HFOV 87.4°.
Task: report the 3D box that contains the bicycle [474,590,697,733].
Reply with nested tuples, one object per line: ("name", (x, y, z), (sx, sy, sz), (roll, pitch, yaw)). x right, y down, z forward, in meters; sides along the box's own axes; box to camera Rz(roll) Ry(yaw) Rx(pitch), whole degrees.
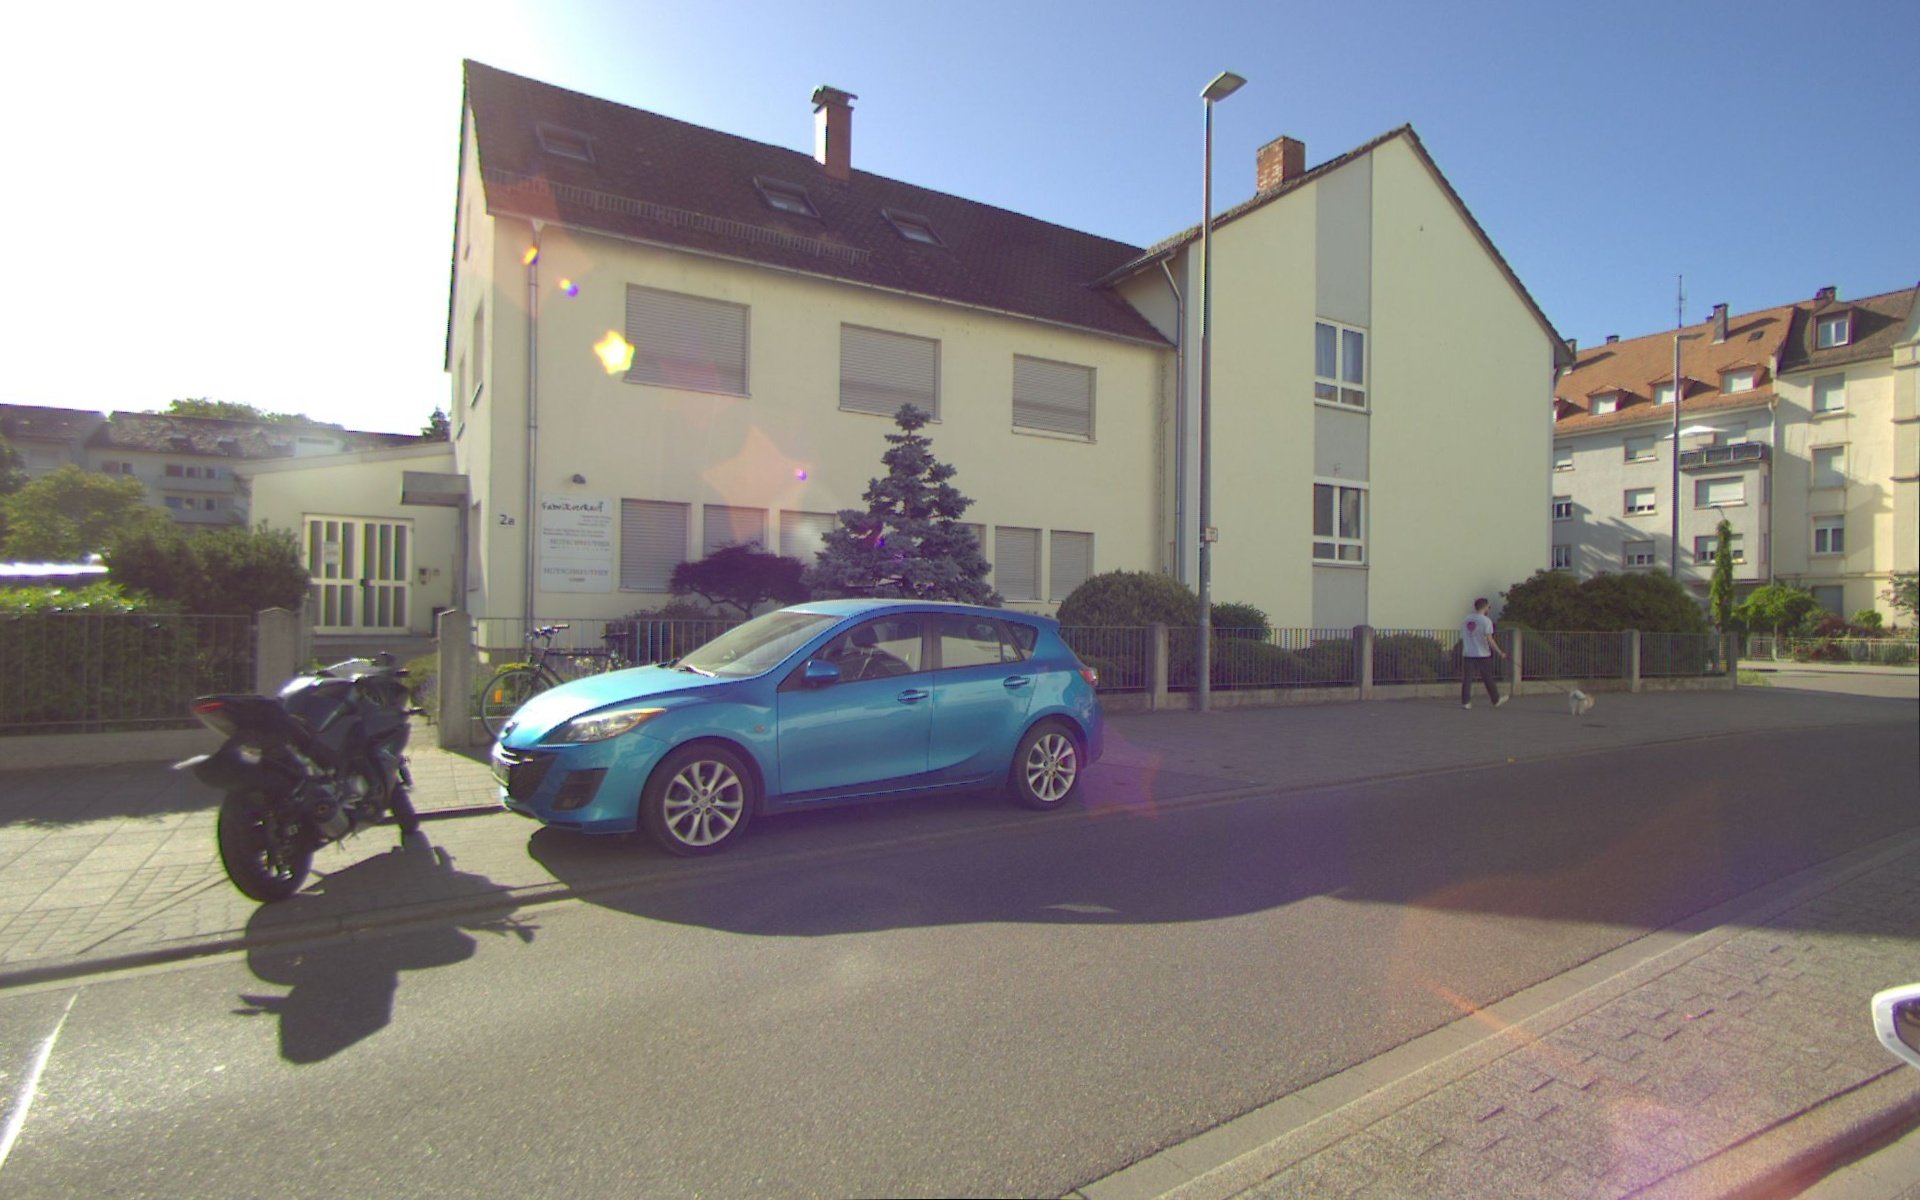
("bicycle", (-3.556, 0.609, 9.663), (1.911, 1.266, 0.453), (5, -3, -38))

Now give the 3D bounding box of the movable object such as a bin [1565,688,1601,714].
("movable object such as a bin", (9.225, 1.495, 14.873), (0.514, 0.353, 0.219), (1, 0, -28))

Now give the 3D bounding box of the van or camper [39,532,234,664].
("van or camper", (-17.457, 0.069, 21.624), (2.123, 2.429, 5.198), (3, -3, -28))

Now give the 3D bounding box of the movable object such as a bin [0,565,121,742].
("movable object such as a bin", (-8.556, 0.467, 9.108), (1.214, 1.509, 1.275), (4, -3, -33))

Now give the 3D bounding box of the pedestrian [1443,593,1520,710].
("pedestrian", (7.985, 0.793, 15.382), (0.814, 1.725, 0.680), (4, -3, -28))

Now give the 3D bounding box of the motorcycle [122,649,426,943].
("motorcycle", (-3.446, 0.871, 5.299), (0.934, 1.033, 2.052), (1, 2, -23))

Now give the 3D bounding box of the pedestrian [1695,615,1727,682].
("pedestrian", (19.307, 1.232, 25.830), (0.556, 1.698, 0.407), (0, -1, 18))

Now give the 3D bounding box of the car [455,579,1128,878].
("car", (-0.999, 0.672, 7.008), (4.289, 1.493, 1.785), (1, 0, -36))
